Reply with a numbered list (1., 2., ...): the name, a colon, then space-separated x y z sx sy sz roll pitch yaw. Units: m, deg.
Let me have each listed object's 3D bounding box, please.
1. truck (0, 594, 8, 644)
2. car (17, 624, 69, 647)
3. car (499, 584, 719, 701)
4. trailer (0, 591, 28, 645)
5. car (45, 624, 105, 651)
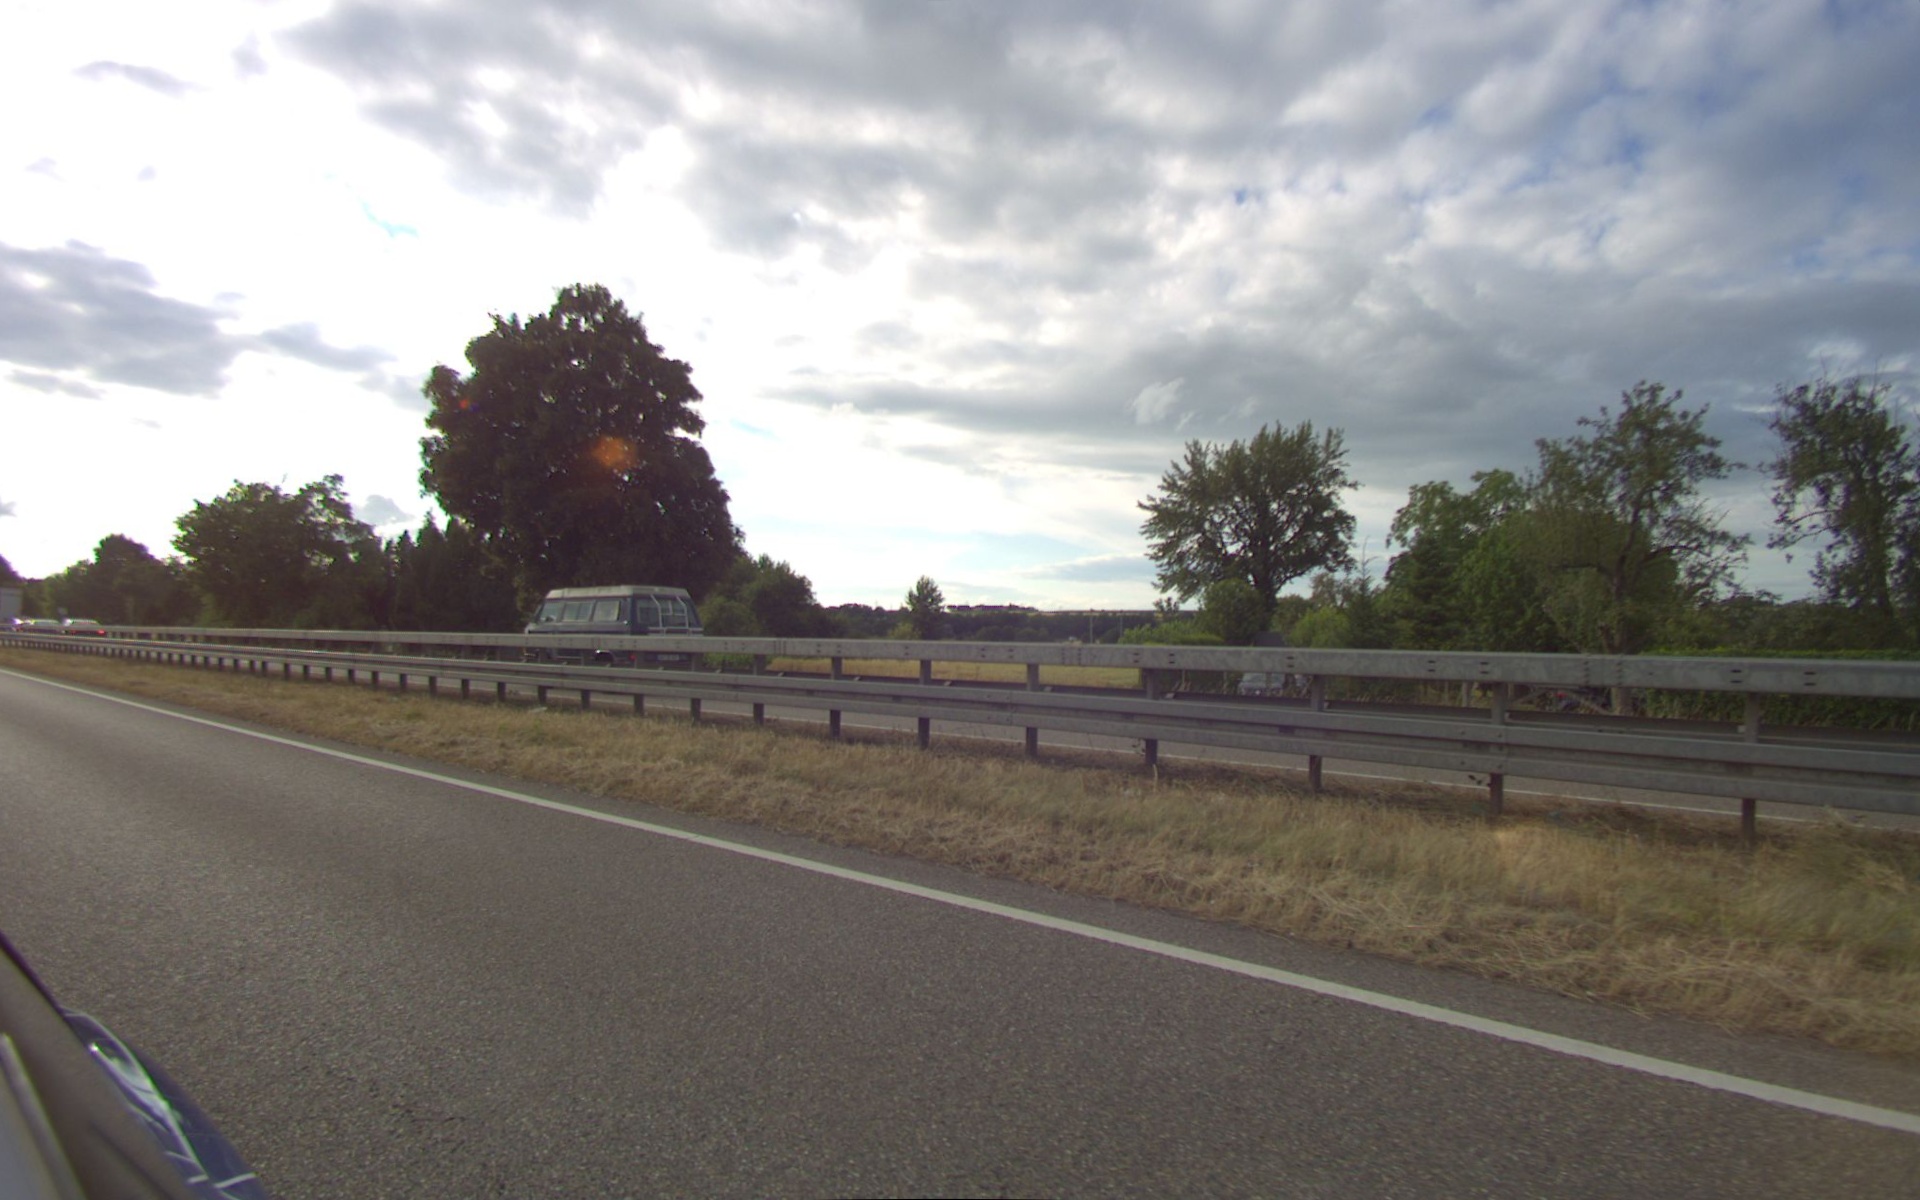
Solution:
1. truck: -84.228 1.592 86.455 6.045 4.182 3.439 -1 -4 40
2. car: -60.350 2.326 66.578 4.822 1.489 1.847 -1 -3 40
3. car: -7.446 0.862 21.138 5.317 2.157 1.972 -1 -3 42
4. trailer: -79.181 1.468 82.132 13.906 4.182 3.429 -1 -4 41
5. car: -50.387 2.136 57.575 4.931 1.489 1.847 -1 -3 40
